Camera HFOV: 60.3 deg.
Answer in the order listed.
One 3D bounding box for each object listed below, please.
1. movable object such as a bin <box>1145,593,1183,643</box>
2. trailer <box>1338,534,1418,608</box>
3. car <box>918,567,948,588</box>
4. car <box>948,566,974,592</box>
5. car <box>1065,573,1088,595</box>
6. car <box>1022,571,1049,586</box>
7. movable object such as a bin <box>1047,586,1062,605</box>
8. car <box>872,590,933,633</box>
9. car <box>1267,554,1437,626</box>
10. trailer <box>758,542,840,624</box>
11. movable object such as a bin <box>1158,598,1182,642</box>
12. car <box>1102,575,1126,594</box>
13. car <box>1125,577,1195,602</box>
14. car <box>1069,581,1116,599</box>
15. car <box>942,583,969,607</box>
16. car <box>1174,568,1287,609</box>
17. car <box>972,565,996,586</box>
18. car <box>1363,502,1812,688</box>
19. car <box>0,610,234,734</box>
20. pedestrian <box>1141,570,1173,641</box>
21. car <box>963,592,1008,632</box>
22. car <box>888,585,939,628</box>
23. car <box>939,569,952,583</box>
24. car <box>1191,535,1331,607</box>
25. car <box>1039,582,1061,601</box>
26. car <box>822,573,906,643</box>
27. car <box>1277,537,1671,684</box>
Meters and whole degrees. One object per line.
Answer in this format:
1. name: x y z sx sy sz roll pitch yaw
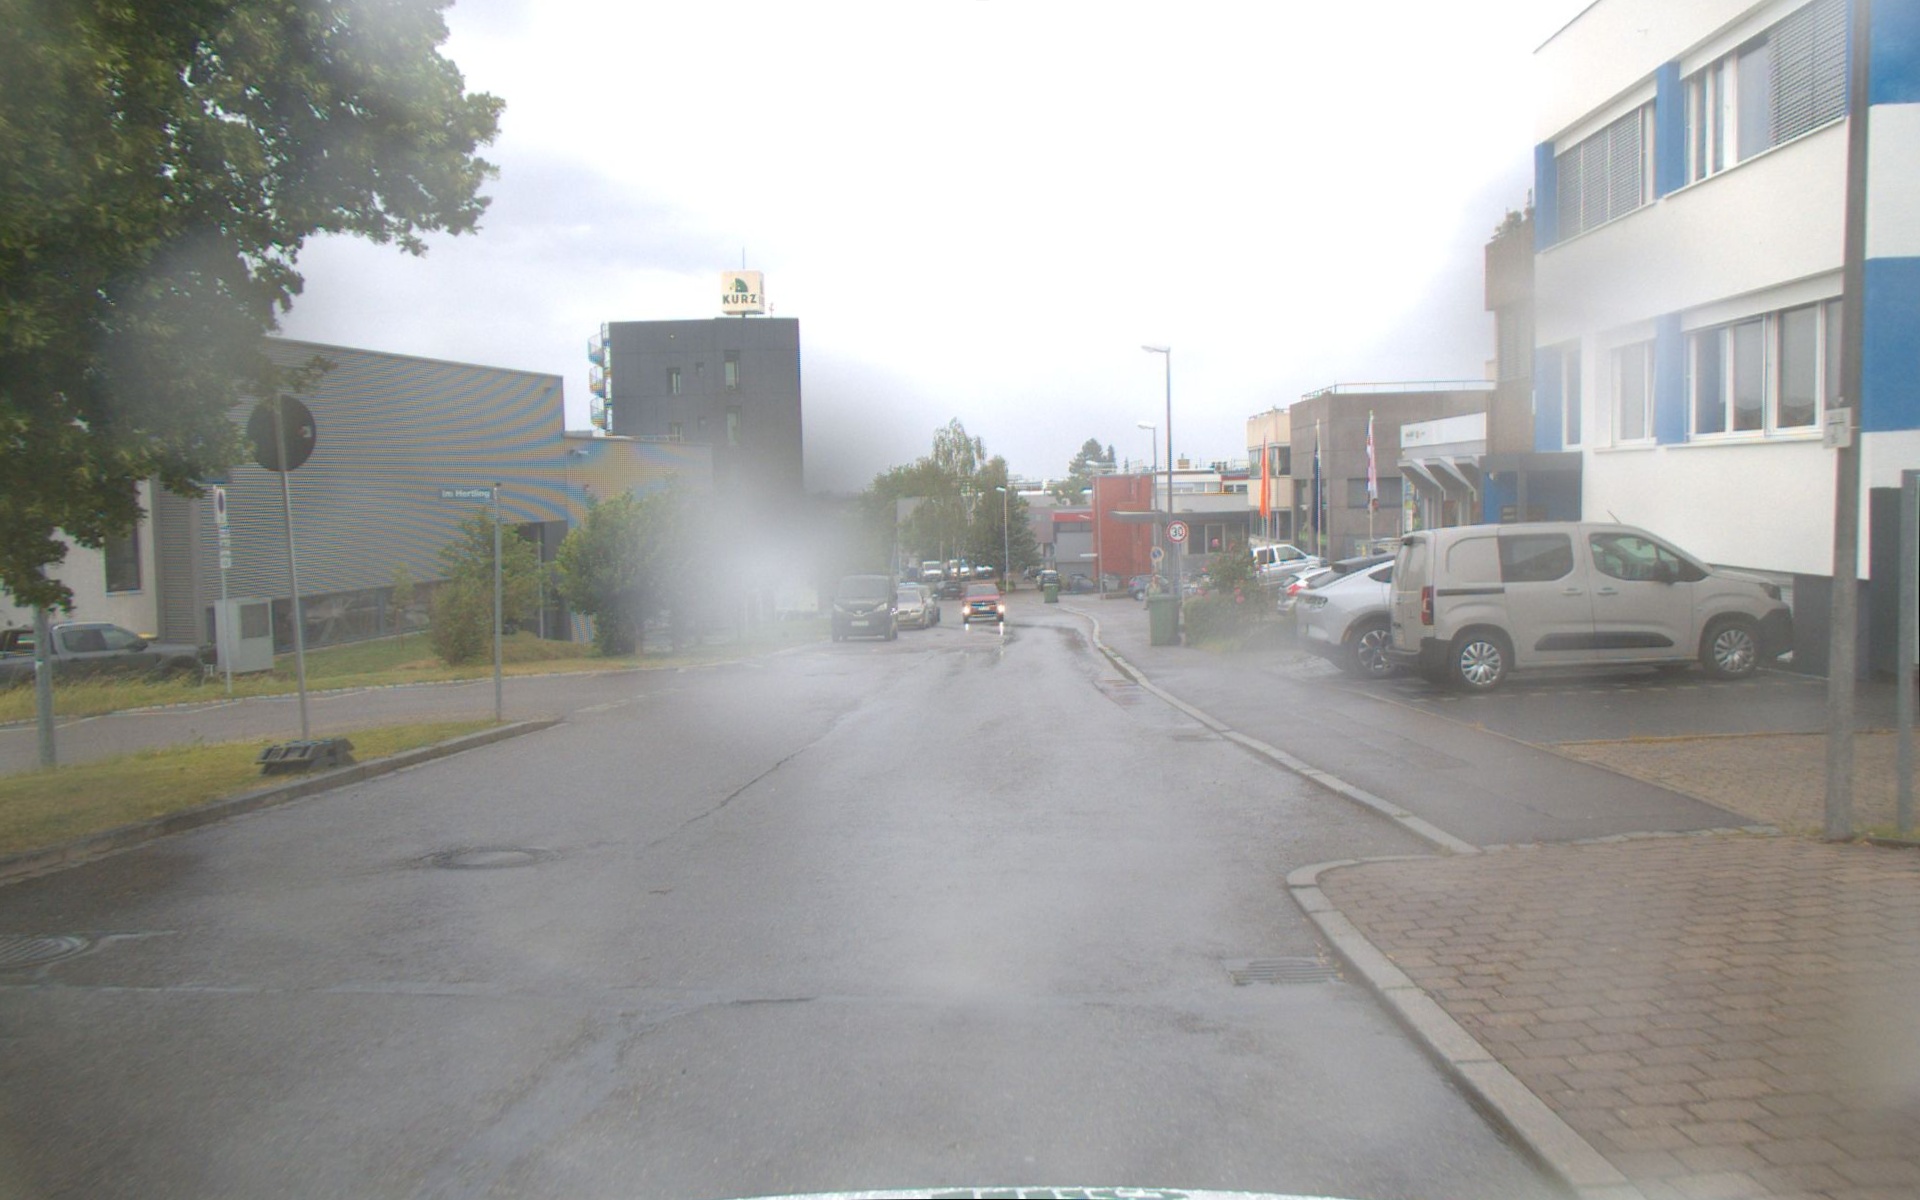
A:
1. movable object such as a bin: 4.406 0.383 35.770 0.755 1.048 0.808 -2 0 3
2. trailer: 14.657 -1.049 58.239 1.847 2.458 4.311 -2 1 3
3. car: -2.869 -2.380 174.464 2.226 2.049 3.986 -2 0 -14
4. car: 0.097 -2.196 174.833 2.151 2.502 3.994 -2 0 -7
5. car: 9.836 -1.337 140.349 1.703 1.682 4.001 -2 0 1
6. car: 7.382 -2.093 161.850 2.497 1.375 1.241 -2 1 -4
7. movable object such as a bin: 5.659 -0.274 99.316 0.790 1.111 0.709 -3 1 -4
8. car: -2.131 0.403 62.395 1.915 1.486 5.249 -2 0 2
9. car: 10.455 -0.261 44.349 4.036 1.601 2.004 -4 0 1
10. trailer: -8.845 -0.903 90.792 4.109 4.276 1.996 -2 0 40
11. movable object such as a bin: 4.745 0.445 37.363 0.462 0.984 0.514 -2 0 3
12. car: 12.937 -1.286 139.294 1.693 1.446 4.001 -2 0 1
13. car: 11.444 -0.577 94.869 3.814 1.408 1.821 0 0 1
14. car: 9.747 -0.767 121.839 3.329 1.183 1.793 -2 1 3
15. car: -0.378 -0.396 128.577 1.916 1.705 4.470 -2 -1 -2
16. car: 12.705 -0.561 77.916 4.987 1.641 1.925 -3 1 1
17. car: 2.491 -2.591 175.776 2.104 2.049 3.935 -2 0 -5
18. car: 6.983 -0.060 18.775 4.252 1.804 2.089 -3 0 0
19. car: -17.923 1.381 33.775 2.086 1.955 5.608 -1 3 25
20. pedestrian: 5.097 0.138 42.905 0.721 1.798 0.809 -2 0 3
21. car: 1.120 0.523 71.059 1.711 1.534 3.936 -4 0 2
22. car: -1.891 0.267 68.771 1.917 1.604 4.840 -3 0 0
23. car: -1.595 -2.623 180.472 1.265 1.449 2.543 -2 0 -5
24. car: 12.443 -1.179 68.590 5.195 2.046 2.222 -10 0 1
25. car: 7.558 -0.688 139.694 1.662 1.501 4.001 -2 0 1
26. car: -2.709 0.210 47.758 1.875 1.863 4.850 -2 0 3
27. car: 6.667 0.124 21.870 4.502 1.565 2.080 -4 0 1
